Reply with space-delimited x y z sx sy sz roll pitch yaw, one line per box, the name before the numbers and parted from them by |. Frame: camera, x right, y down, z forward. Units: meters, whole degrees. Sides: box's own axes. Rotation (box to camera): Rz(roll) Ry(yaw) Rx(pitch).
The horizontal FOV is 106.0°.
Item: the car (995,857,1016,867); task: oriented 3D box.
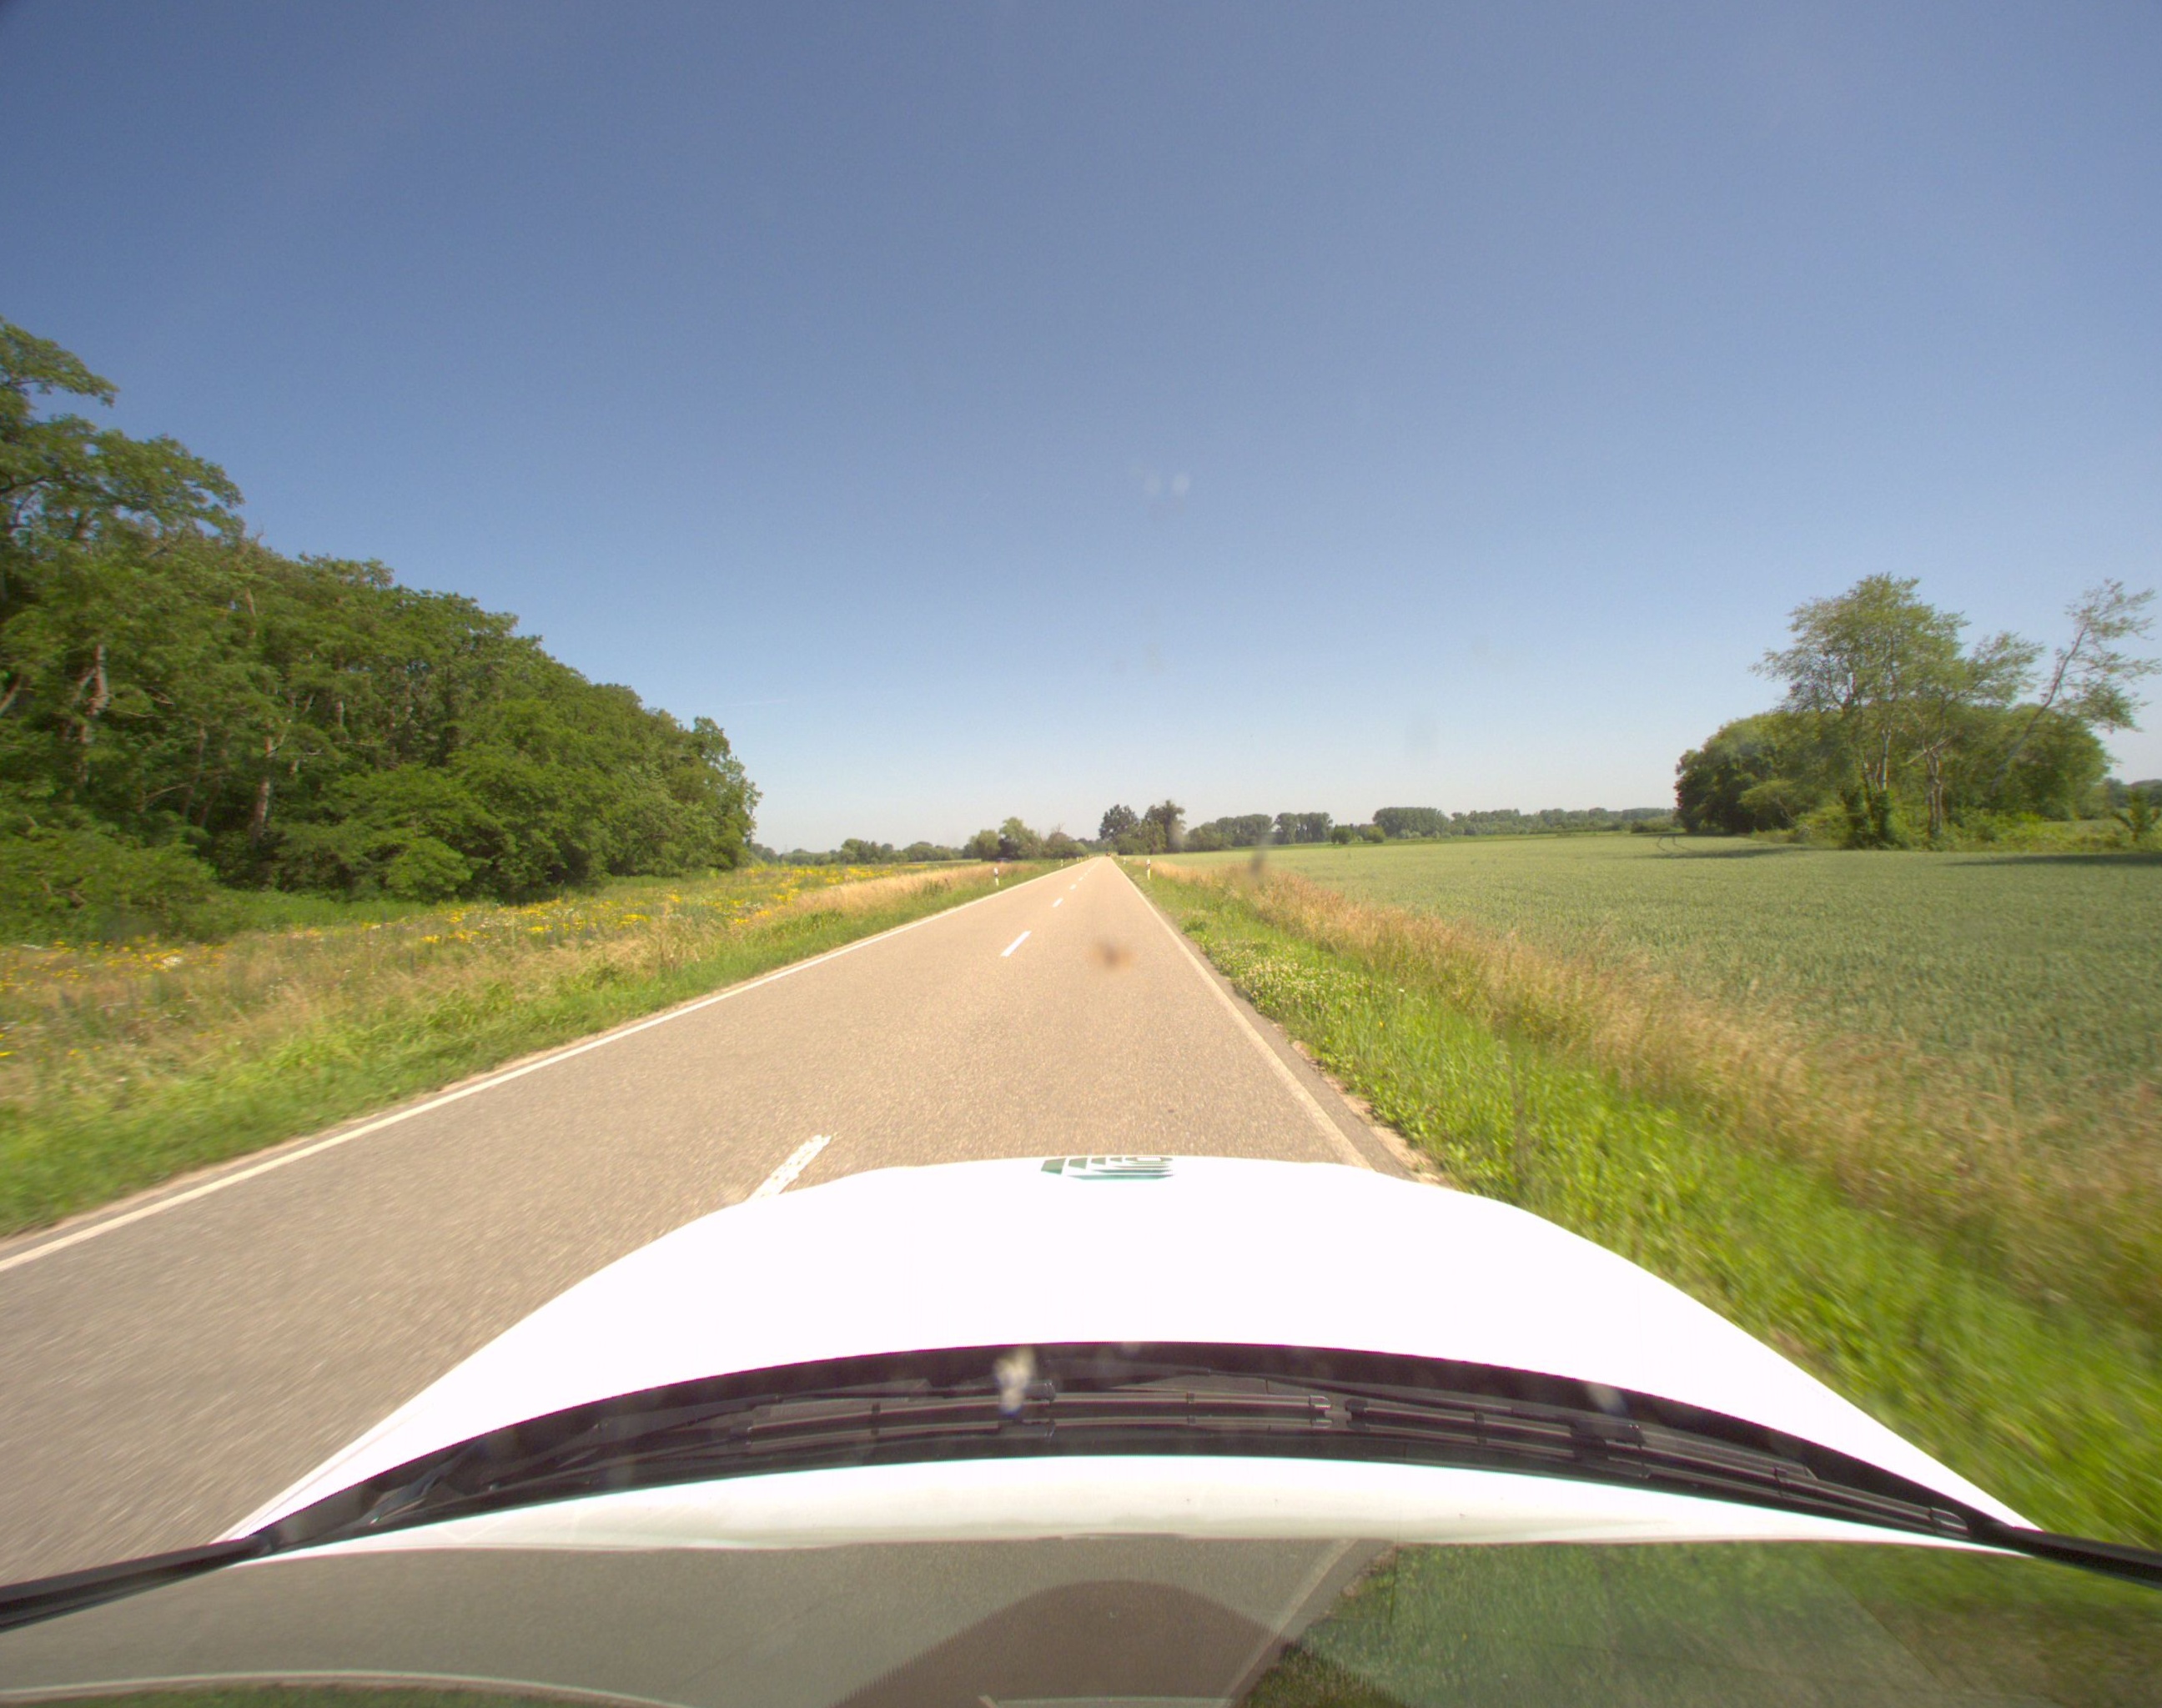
car | -14.292 1.480 155.024 1.736 1.651 4.557 -3 0 27
